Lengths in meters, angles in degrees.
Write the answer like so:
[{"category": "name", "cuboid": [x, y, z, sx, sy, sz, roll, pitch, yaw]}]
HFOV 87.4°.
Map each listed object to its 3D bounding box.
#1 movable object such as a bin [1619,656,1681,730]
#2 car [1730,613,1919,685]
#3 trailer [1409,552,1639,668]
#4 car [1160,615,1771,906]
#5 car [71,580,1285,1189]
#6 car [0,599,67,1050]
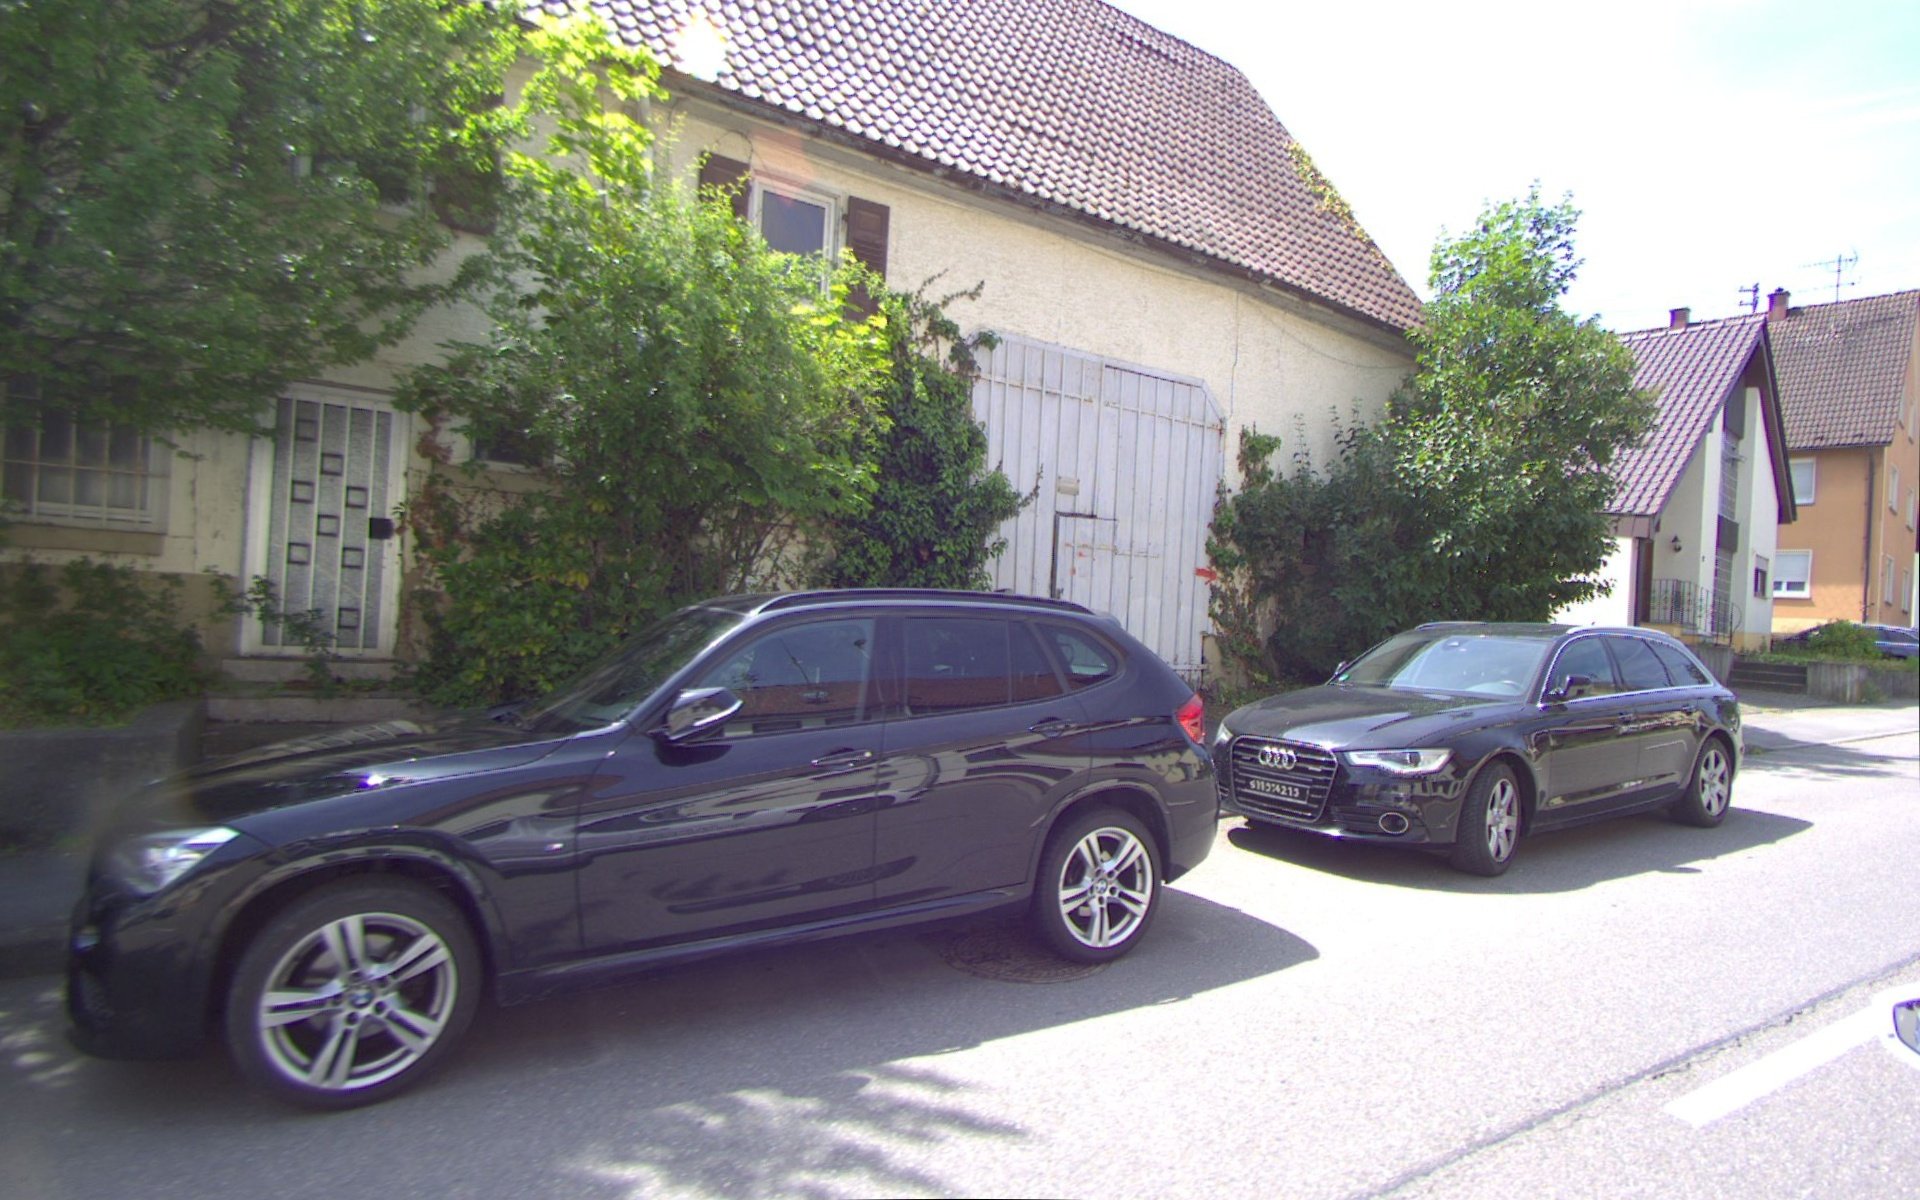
[{"category": "movable object such as a bin", "cuboid": [9.215, 1.230, 13.414, 0.580, 0.914, 0.497, 2, 1, -37]}, {"category": "car", "cuboid": [23.247, 1.255, 26.586, 1.806, 1.424, 4.193, 1, 4, -40]}, {"category": "trailer", "cuboid": [12.414, 0.170, 22.309, 1.981, 2.040, 3.803, 2, 6, -36]}, {"category": "car", "cuboid": [3.804, 0.883, 7.244, 4.724, 1.493, 1.809, 1, -1, -33]}, {"category": "car", "cuboid": [-0.787, 0.752, 4.341, 4.247, 1.541, 1.748, 1, -1, -29]}, {"category": "car", "cuboid": [-5.033, 0.680, 1.930, 4.659, 1.483, 1.779, 2, -1, -32]}]
